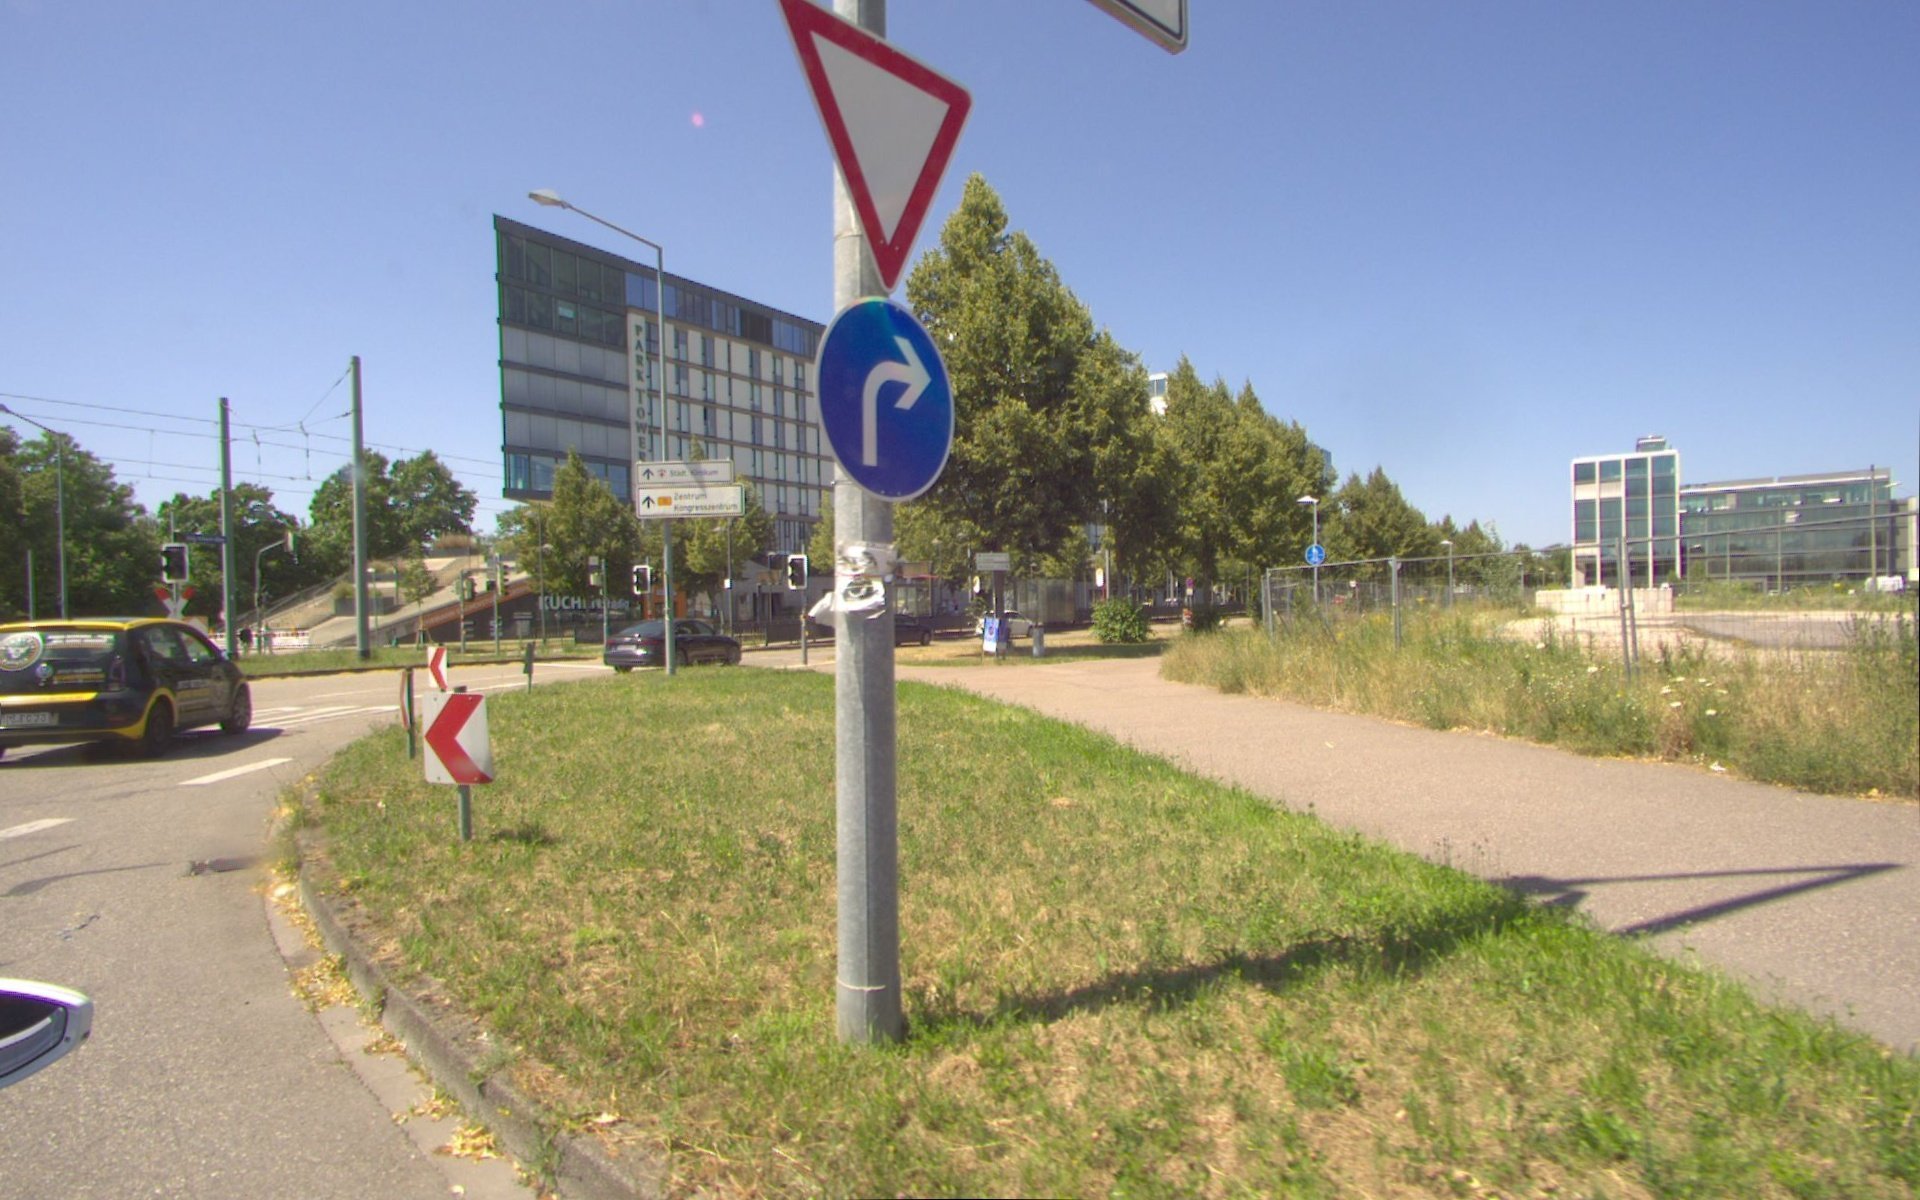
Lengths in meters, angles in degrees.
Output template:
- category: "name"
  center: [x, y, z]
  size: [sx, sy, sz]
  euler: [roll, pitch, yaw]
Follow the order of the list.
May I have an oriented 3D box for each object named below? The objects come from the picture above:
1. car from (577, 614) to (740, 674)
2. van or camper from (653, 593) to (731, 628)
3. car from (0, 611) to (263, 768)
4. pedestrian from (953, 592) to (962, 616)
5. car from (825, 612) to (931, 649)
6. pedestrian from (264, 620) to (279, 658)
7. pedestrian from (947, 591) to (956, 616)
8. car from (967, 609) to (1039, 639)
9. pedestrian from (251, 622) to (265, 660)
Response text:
- category: "car"
  center: [-7.943, 1.150, 26.888]
  size: [1.964, 1.467, 4.645]
  euler: [-1, -2, 17]
- category: "van or camper"
  center: [-22.819, 0.910, 85.663]
  size: [2.348, 2.859, 6.754]
  euler: [-1, -1, 31]
- category: "car"
  center: [-9.465, 0.899, 11.304]
  size: [1.596, 1.470, 3.978]
  euler: [0, -2, -19]
- category: "pedestrian"
  center: [-0.193, 0.296, 72.322]
  size: [0.405, 1.775, 0.583]
  euler: [-1, 0, 31]
- category: "car"
  center: [-3.358, 1.265, 41.986]
  size: [1.972, 1.467, 4.733]
  euler: [-1, -2, 33]
- category: "pedestrian"
  center: [-32.123, 1.816, 46.713]
  size: [0.313, 1.761, 0.447]
  euler: [-1, 0, 33]
- category: "pedestrian"
  center: [-0.584, 0.276, 71.781]
  size: [0.405, 1.775, 0.583]
  euler: [-1, 0, 31]
- category: "car"
  center: [2.278, 1.244, 51.748]
  size: [1.831, 1.467, 4.329]
  euler: [-1, -2, 33]
- category: "pedestrian"
  center: [-32.400, 1.883, 46.216]
  size: [0.287, 1.761, 0.447]
  euler: [-1, 0, 33]
